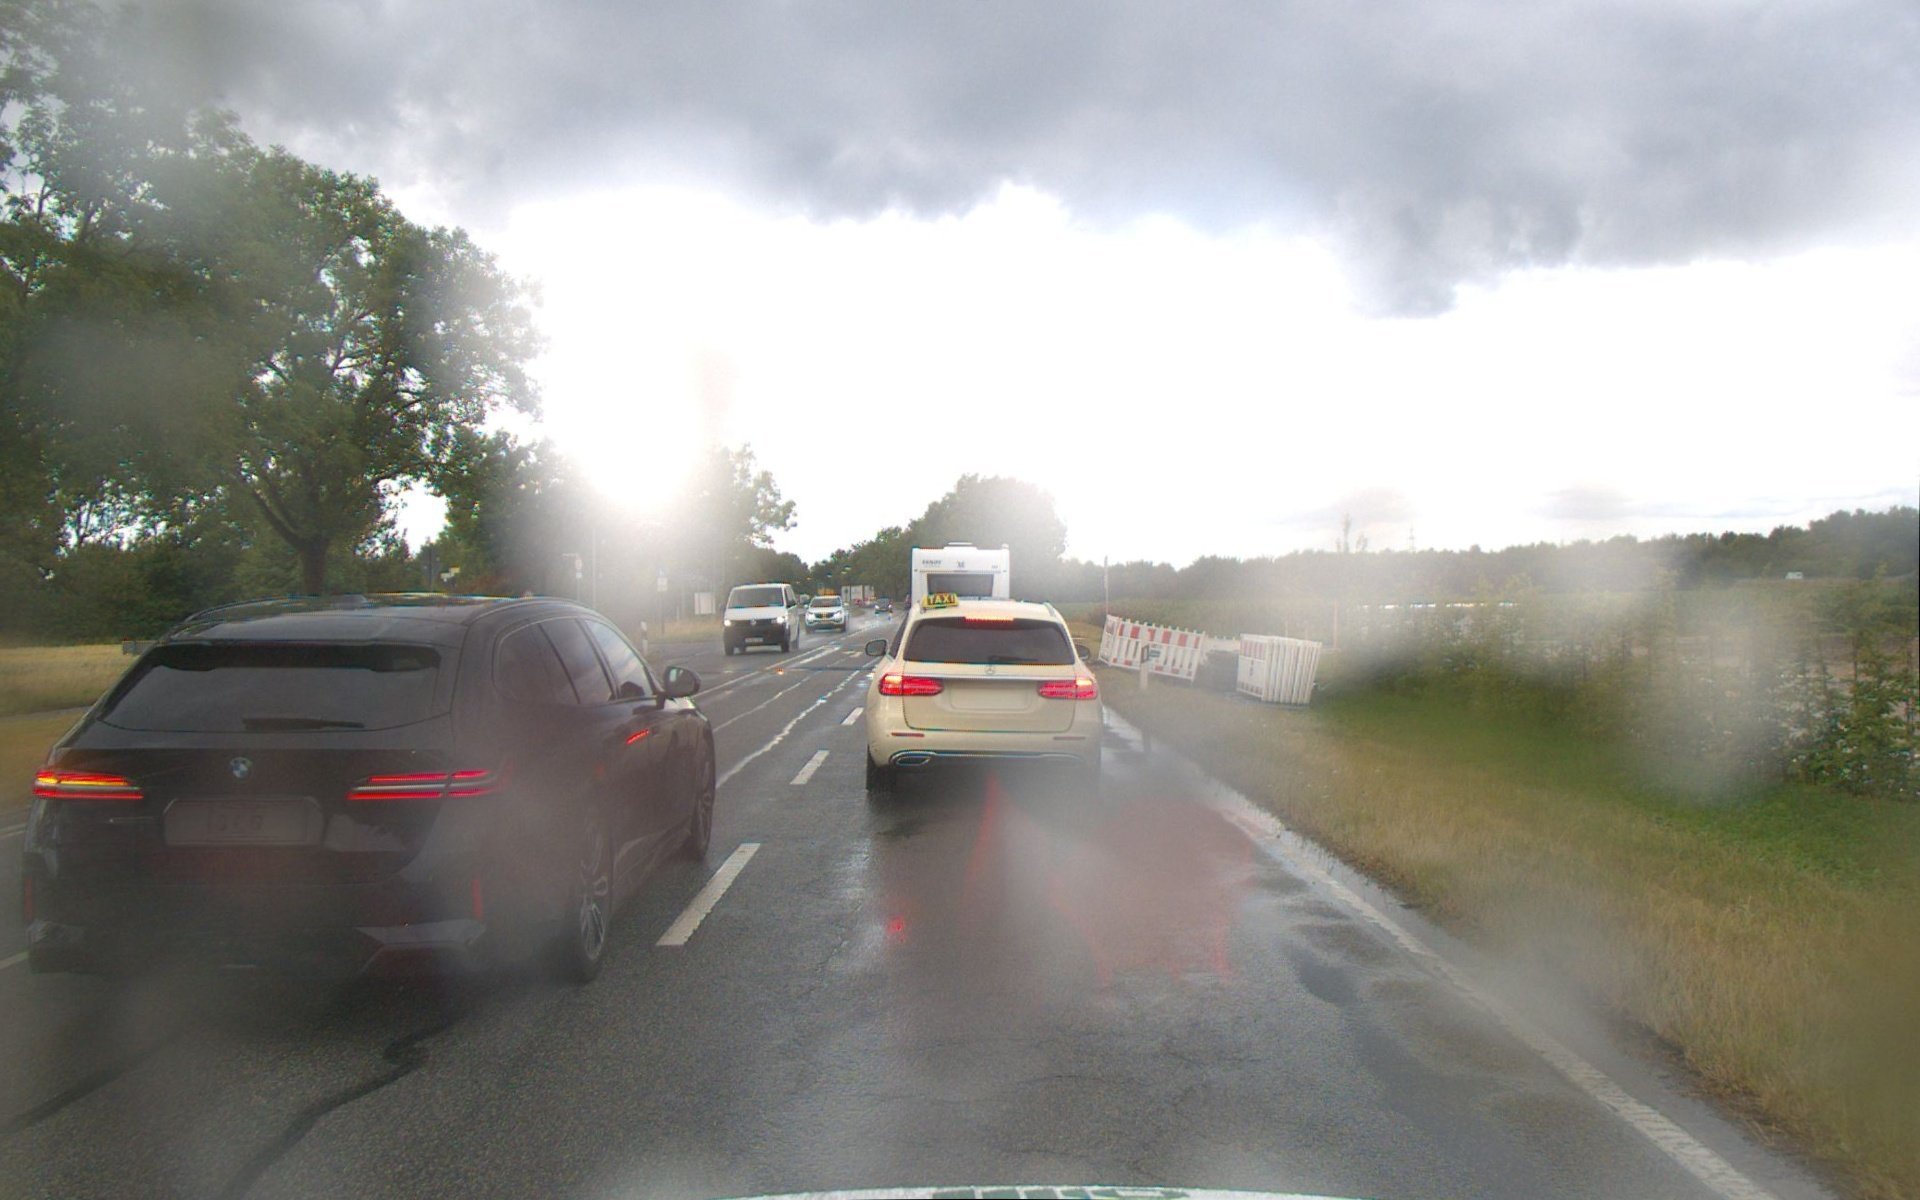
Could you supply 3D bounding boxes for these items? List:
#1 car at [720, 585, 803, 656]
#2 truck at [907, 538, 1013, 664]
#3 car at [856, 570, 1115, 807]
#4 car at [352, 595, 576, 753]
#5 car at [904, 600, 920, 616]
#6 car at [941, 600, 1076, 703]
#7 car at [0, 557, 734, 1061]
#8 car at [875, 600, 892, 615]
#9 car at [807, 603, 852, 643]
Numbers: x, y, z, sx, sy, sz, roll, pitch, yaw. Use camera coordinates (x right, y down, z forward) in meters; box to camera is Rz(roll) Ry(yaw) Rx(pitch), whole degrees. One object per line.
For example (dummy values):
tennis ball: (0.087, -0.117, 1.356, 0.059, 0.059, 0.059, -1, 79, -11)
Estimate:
car: (-5.745, 0.584, 48.449, 1.878, 1.894, 4.684, -3, 0, -1)
truck: (-0.054, 0.010, 40.828, 2.315, 2.776, 7.313, -1, 0, -1)
car: (0.148, 0.625, 13.572, 1.805, 1.646, 3.999, 0, 0, -1)
car: (-5.517, 0.763, 18.786, 1.470, 1.556, 3.301, -3, 0, 0)
car: (-6.037, 0.991, 206.717, 1.858, 1.928, 3.840, -1, 0, -4)
car: (0.689, 0.765, 26.376, 1.953, 1.488, 3.999, 1, 0, -1)
car: (-2.456, 0.670, 7.562, 2.255, 1.574, 4.631, 1, 0, -1)
car: (-7.961, 0.766, 172.870, 1.685, 1.429, 4.042, -3, 0, -2)
car: (-5.957, 1.014, 75.800, 1.669, 1.700, 4.155, -3, 0, 0)
